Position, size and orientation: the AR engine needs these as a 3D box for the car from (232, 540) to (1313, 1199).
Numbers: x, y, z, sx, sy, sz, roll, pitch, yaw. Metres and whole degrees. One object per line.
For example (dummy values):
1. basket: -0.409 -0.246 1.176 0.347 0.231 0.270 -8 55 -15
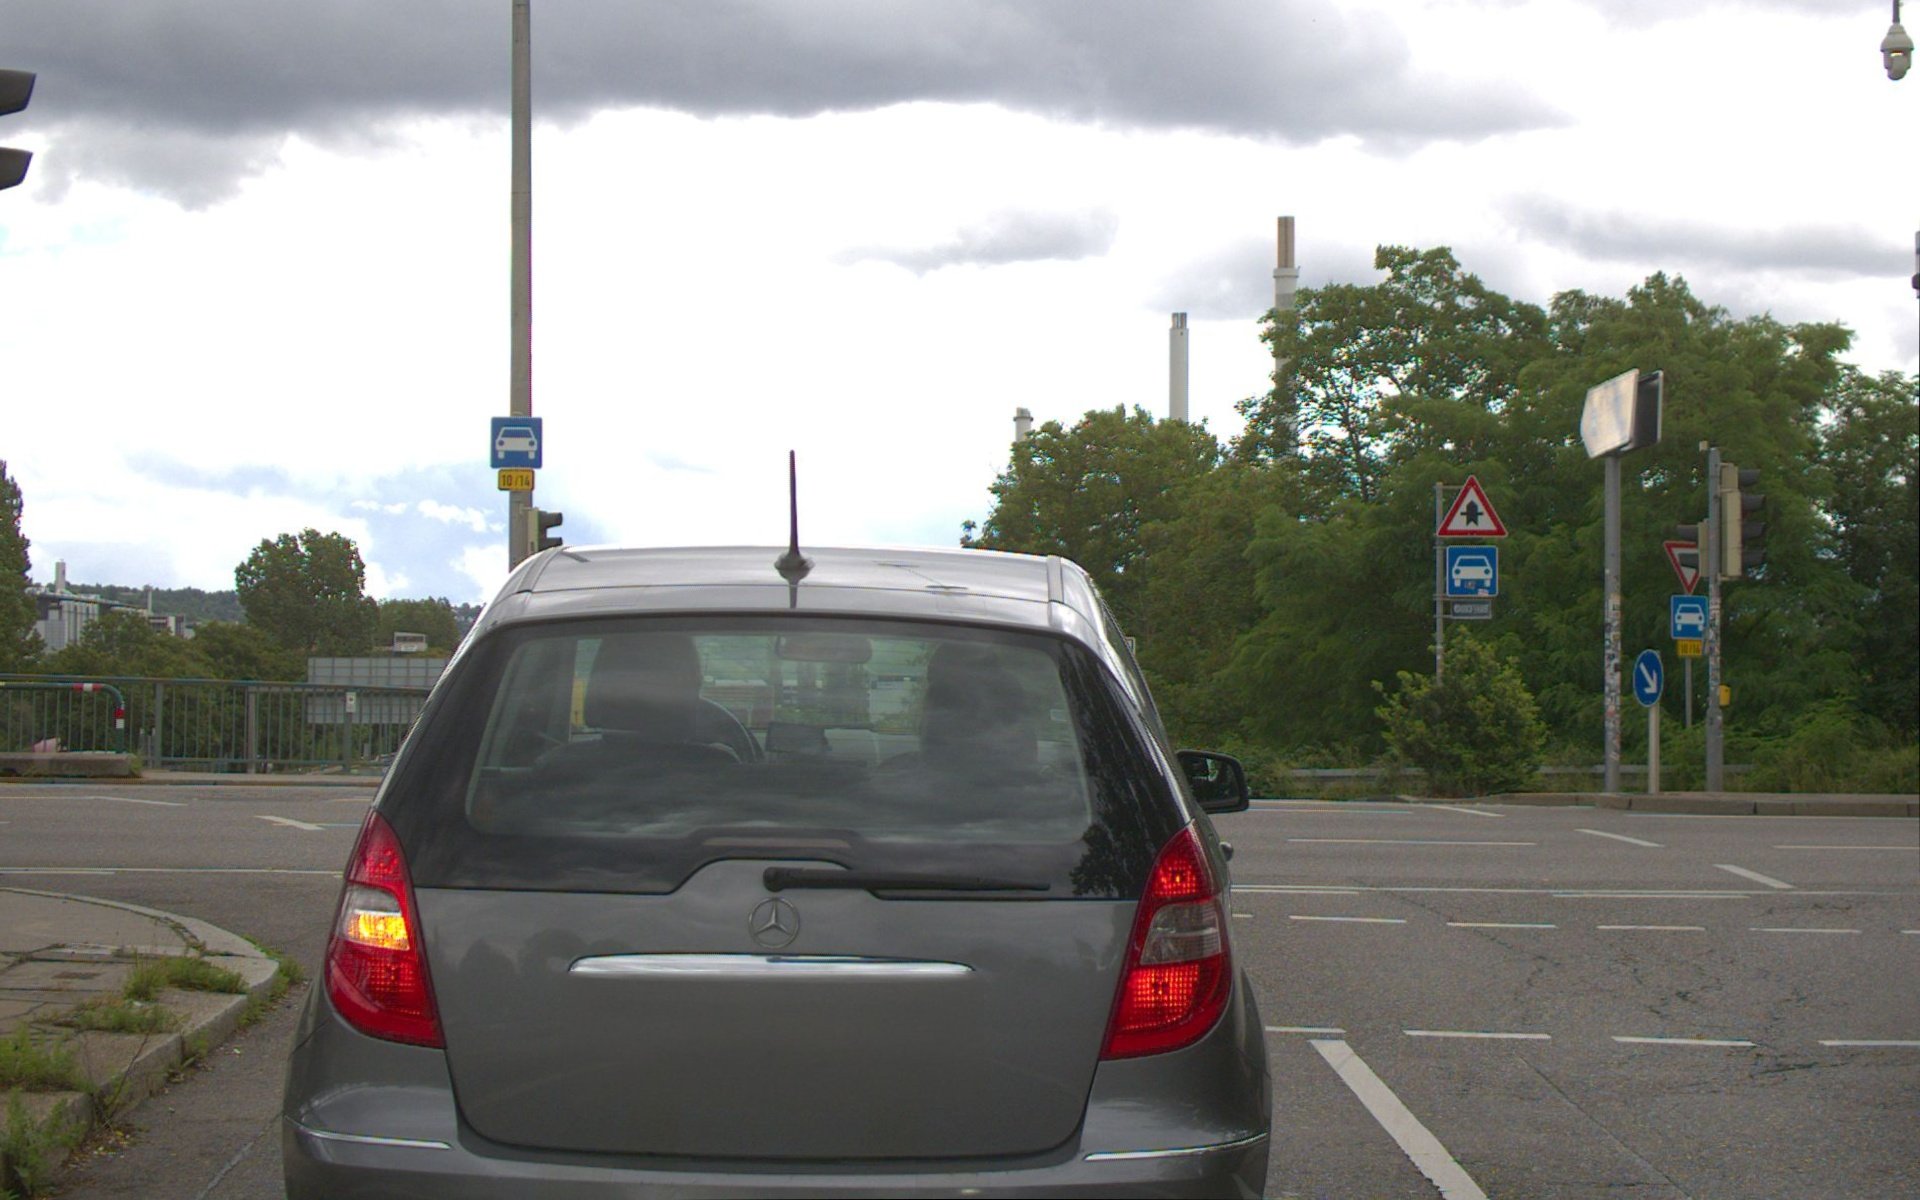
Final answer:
1. car: -0.320 0.672 7.337 1.739 1.538 3.541 1 0 0
